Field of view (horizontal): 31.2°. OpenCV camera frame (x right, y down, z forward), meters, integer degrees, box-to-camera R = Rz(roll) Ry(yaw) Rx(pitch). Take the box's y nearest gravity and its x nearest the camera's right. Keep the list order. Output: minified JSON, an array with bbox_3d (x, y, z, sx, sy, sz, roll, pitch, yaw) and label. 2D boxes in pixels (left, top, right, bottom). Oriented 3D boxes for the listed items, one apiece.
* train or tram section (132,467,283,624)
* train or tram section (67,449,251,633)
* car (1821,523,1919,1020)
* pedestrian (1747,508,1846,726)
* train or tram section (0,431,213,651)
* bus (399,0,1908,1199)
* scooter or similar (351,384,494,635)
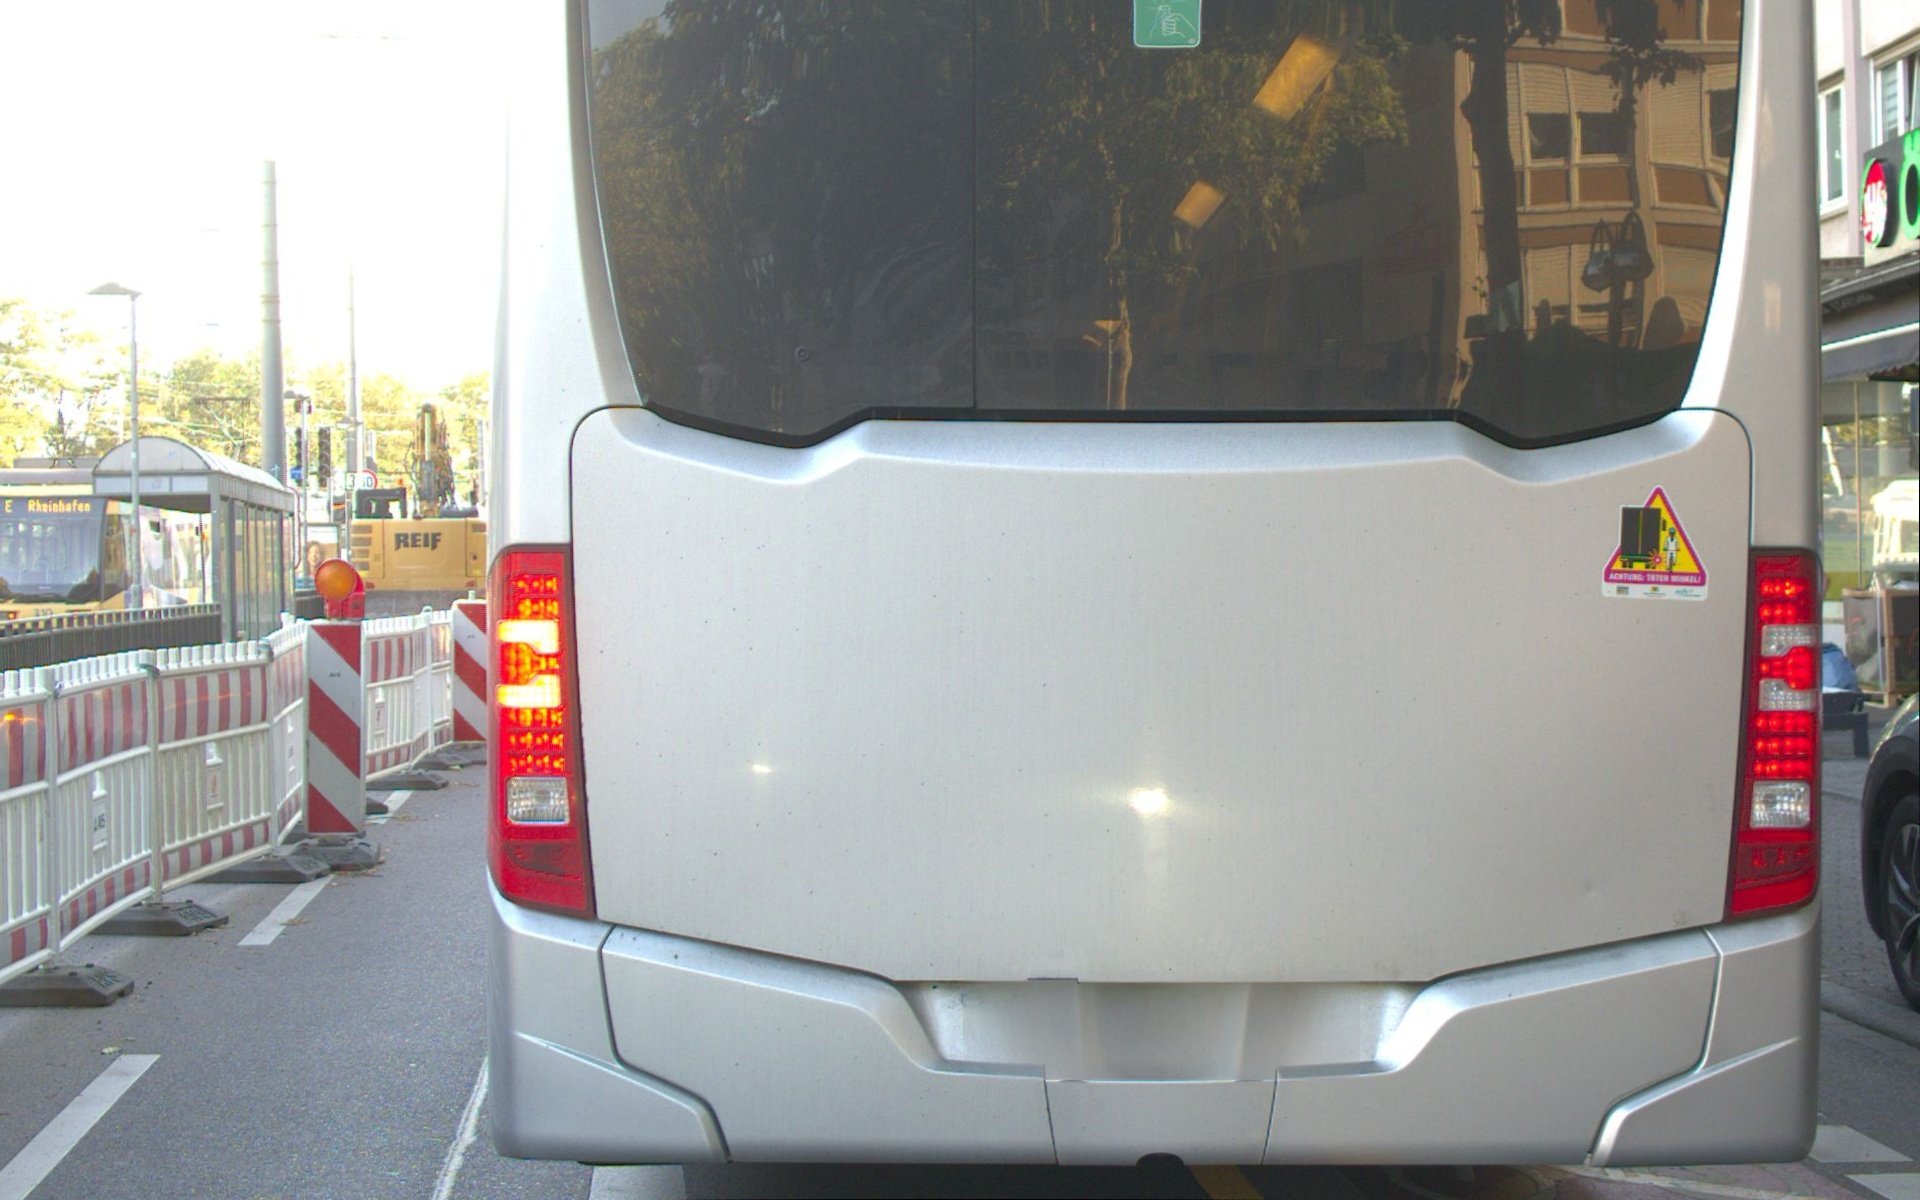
[{"bbox_3d":[-18.290,-1.298,84.147,2.686,3.521,11.585,1,0,-8],"label":"train or tram section"},{"bbox_3d":[-16.785,-1.195,72.690,2.686,3.546,11.585,1,0,-8],"label":"train or tram section"},{"bbox_3d":[4.155,0.535,9.636,1.993,1.576,4.369,-3,1,-5],"label":"car"},{"bbox_3d":[6.538,0.129,26.851,0.664,1.661,0.600,-2,0,16],"label":"pedestrian"},{"bbox_3d":[-15.363,-1.011,61.217,2.686,3.521,11.774,1,0,-6],"label":"train or tram section"},{"bbox_3d":[0.305,-0.214,10.036,2.611,3.115,7.993,1,1,-1],"label":"bus"},{"bbox_3d":[-9.995,-1.648,64.362,2.468,4.455,5.974,-1,1,-8],"label":"scooter or similar"}]
